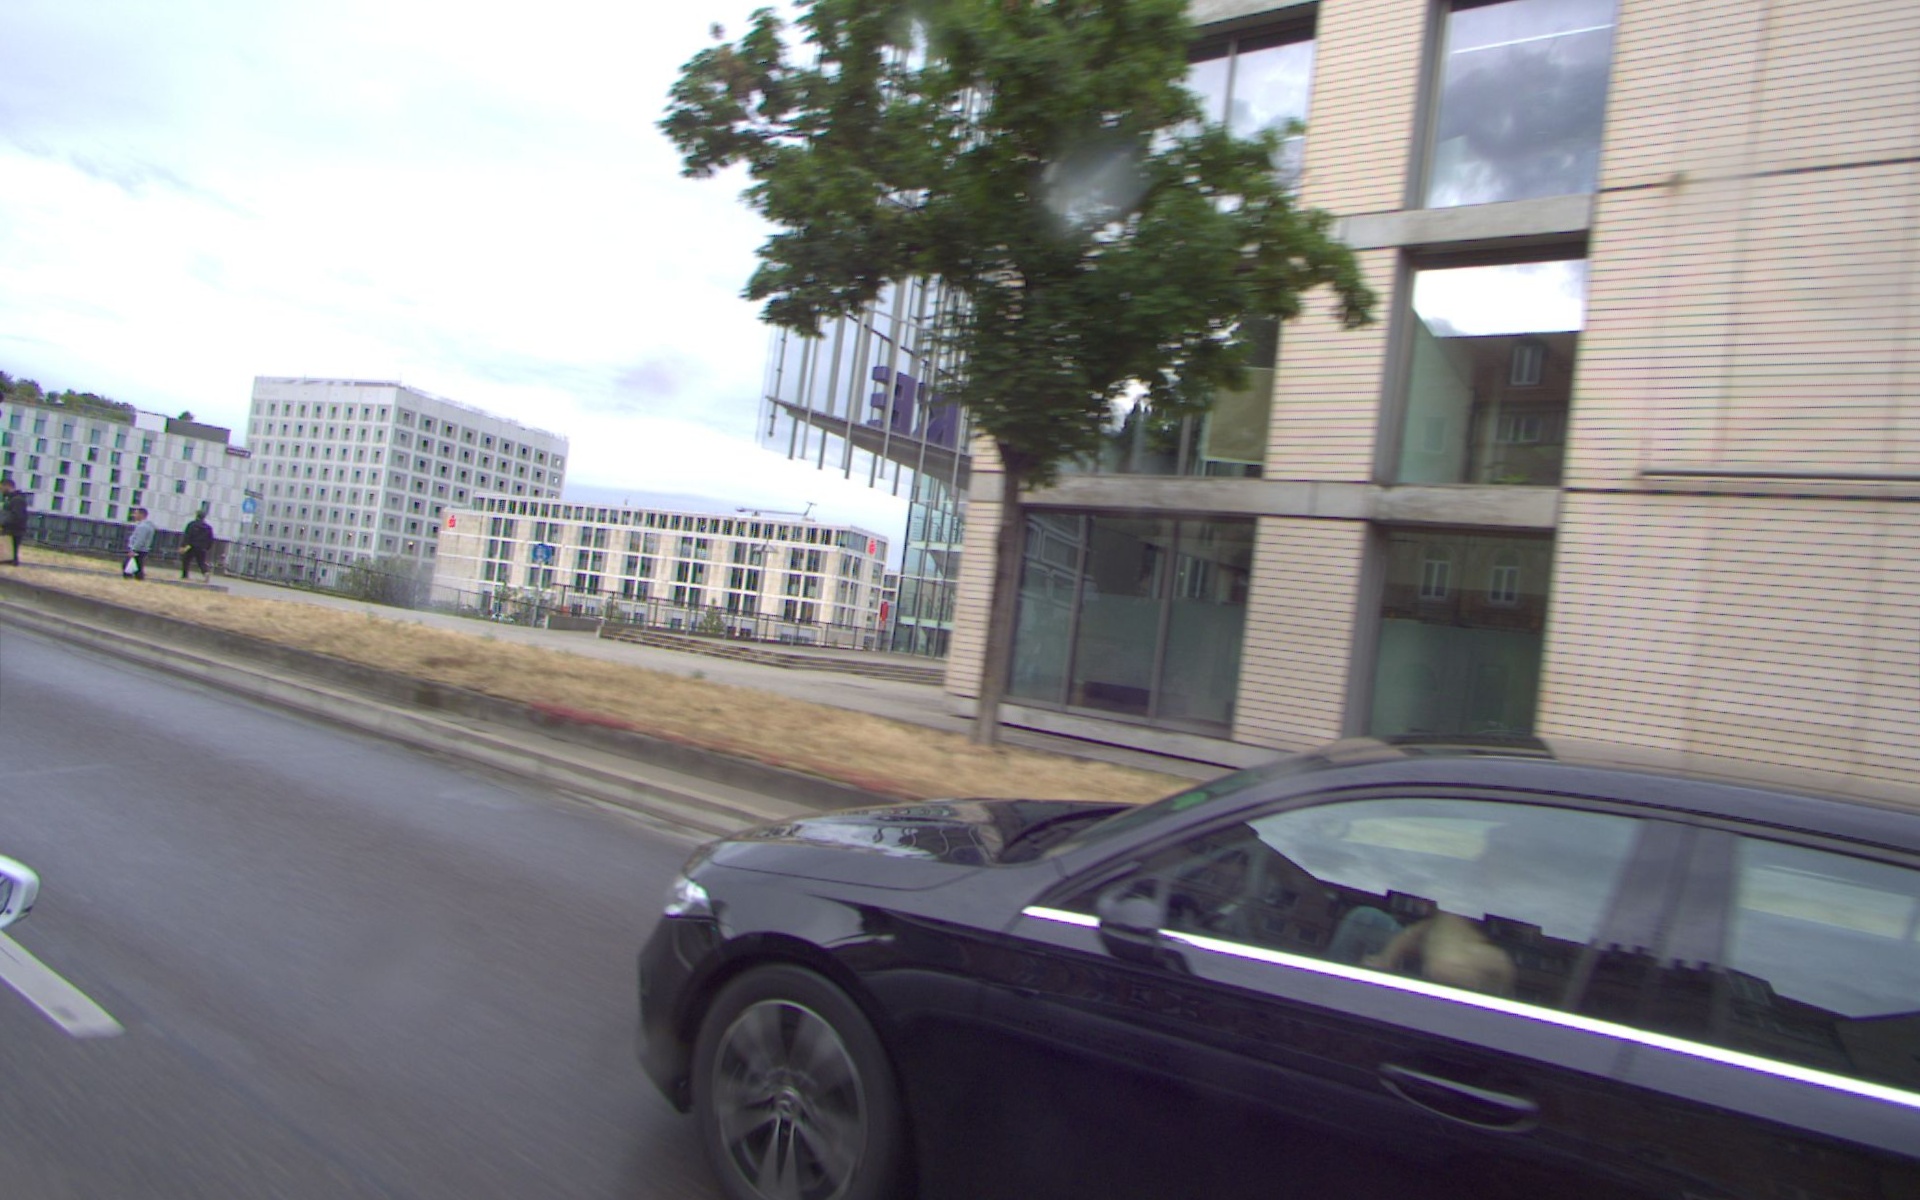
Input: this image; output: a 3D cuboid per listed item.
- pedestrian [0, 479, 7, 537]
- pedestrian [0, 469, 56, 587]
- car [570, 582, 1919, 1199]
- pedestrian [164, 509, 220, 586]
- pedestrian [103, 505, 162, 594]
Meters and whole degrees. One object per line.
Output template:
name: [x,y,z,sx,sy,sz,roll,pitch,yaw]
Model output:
pedestrian: [-16.685,-1.300,16.974,0.544,1.597,0.666,8,1,-24]
pedestrian: [-15.573,-1.186,16.552,0.542,1.864,0.781,8,1,-12]
car: [1.245,0.965,2.507,4.135,1.453,1.876,7,-1,31]
pedestrian: [-17.034,-1.151,22.325,0.662,1.597,0.665,8,1,-21]
pedestrian: [-15.658,-0.950,19.049,0.544,1.597,0.666,8,1,-24]
